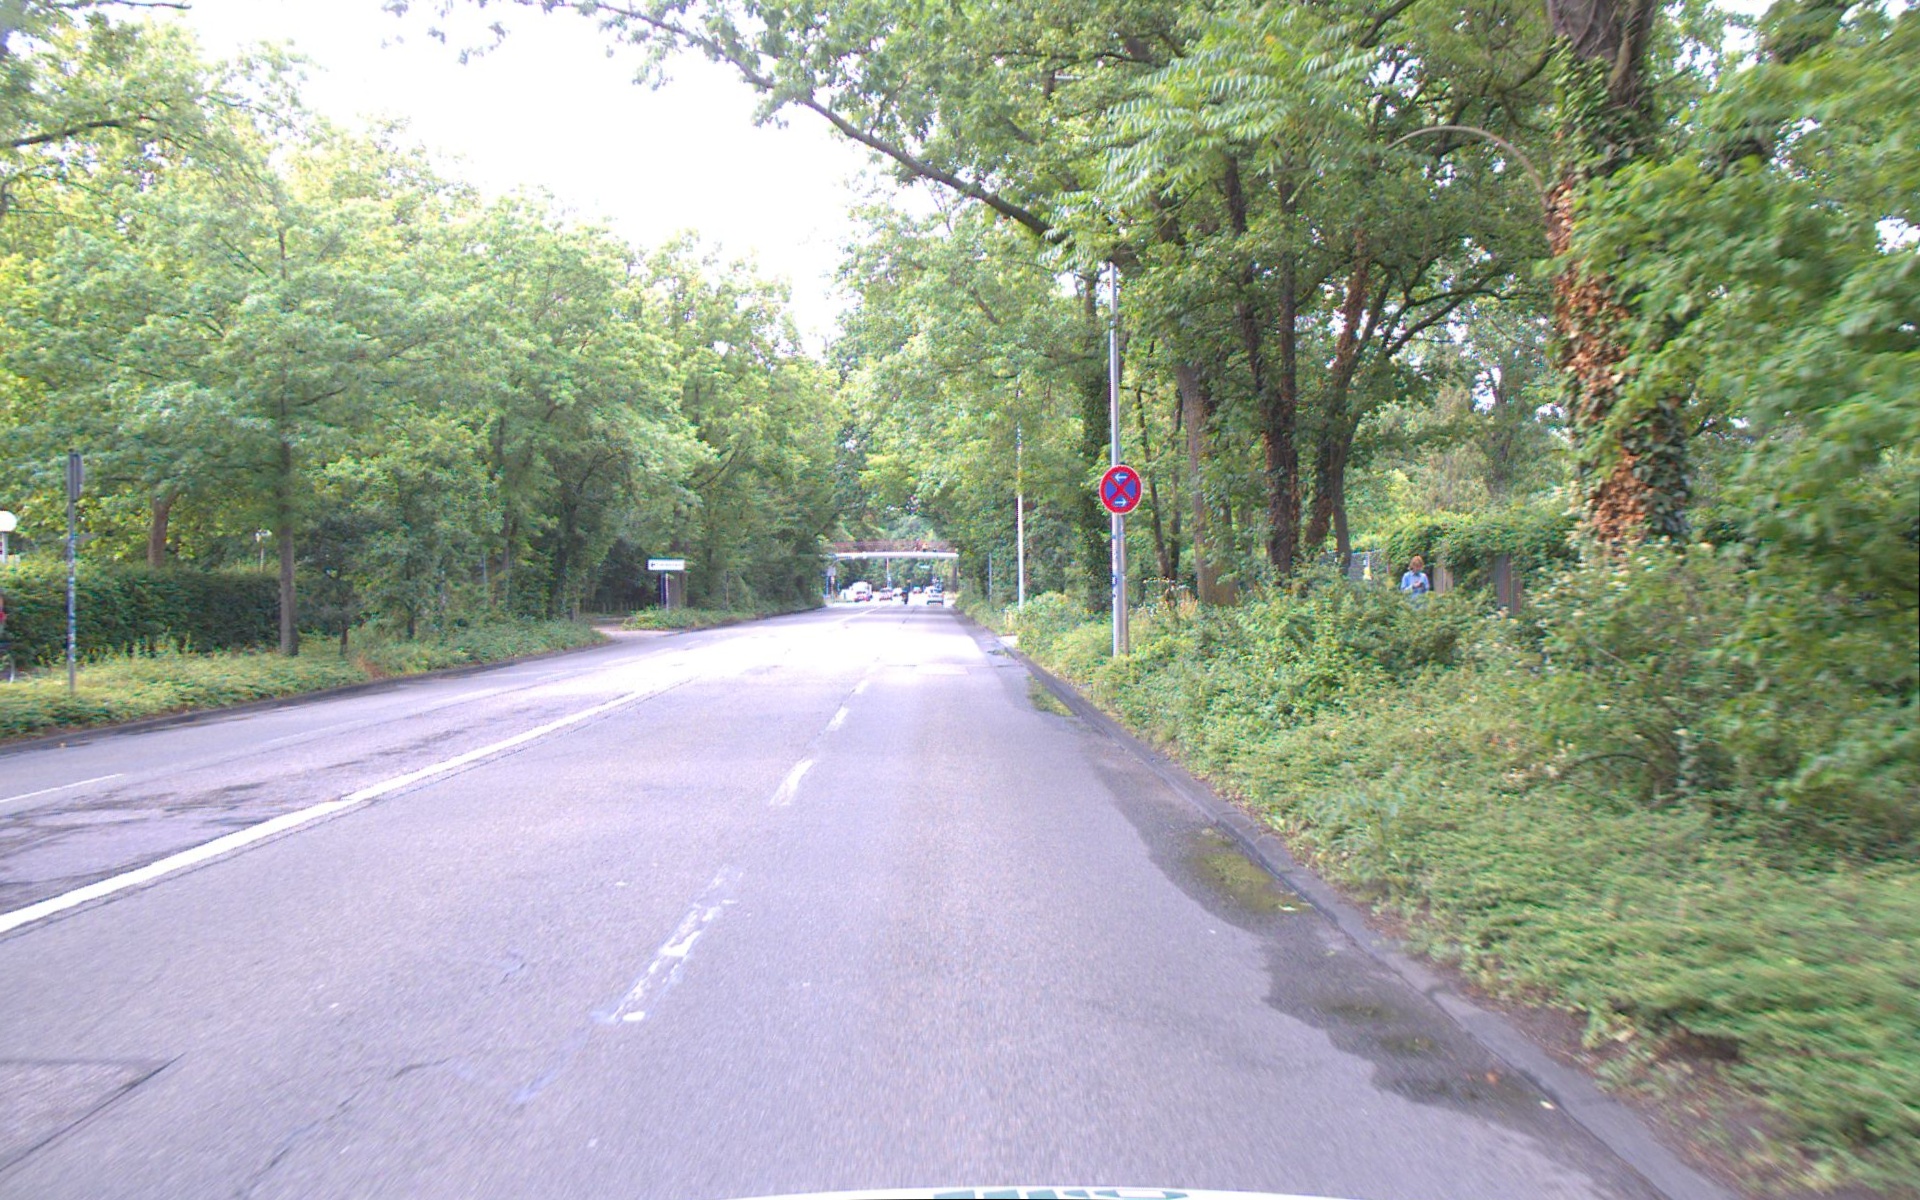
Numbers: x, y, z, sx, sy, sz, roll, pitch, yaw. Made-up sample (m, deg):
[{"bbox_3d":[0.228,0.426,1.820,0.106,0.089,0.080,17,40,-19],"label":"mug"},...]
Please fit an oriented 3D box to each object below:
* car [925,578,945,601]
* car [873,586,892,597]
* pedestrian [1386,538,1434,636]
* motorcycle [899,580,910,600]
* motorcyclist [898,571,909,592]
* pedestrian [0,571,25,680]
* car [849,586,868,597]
[{"bbox_3d":[-2.377,-1.009,156.640,1.806,2.049,3.999,0,1,-1],"label":"car"},{"bbox_3d":[-9.498,-1.064,203.661,1.639,1.386,3.924,0,1,7],"label":"car"},{"bbox_3d":[7.915,-0.235,29.106,0.561,1.680,0.820,-2,1,-1],"label":"pedestrian"},{"bbox_3d":[-5.385,-0.972,160.218,0.970,1.970,2.668,0,1,-1],"label":"motorcycle"},{"bbox_3d":[-5.500,-1.804,160.181,1.042,2.049,0.842,0,0,-1],"label":"motorcyclist"},{"bbox_3d":[-14.921,0.383,25.288,0.775,1.641,0.848,0,0,-1],"label":"pedestrian"},{"bbox_3d":[-12.426,-1.074,203.347,1.952,1.377,3.895,0,1,2],"label":"car"}]
